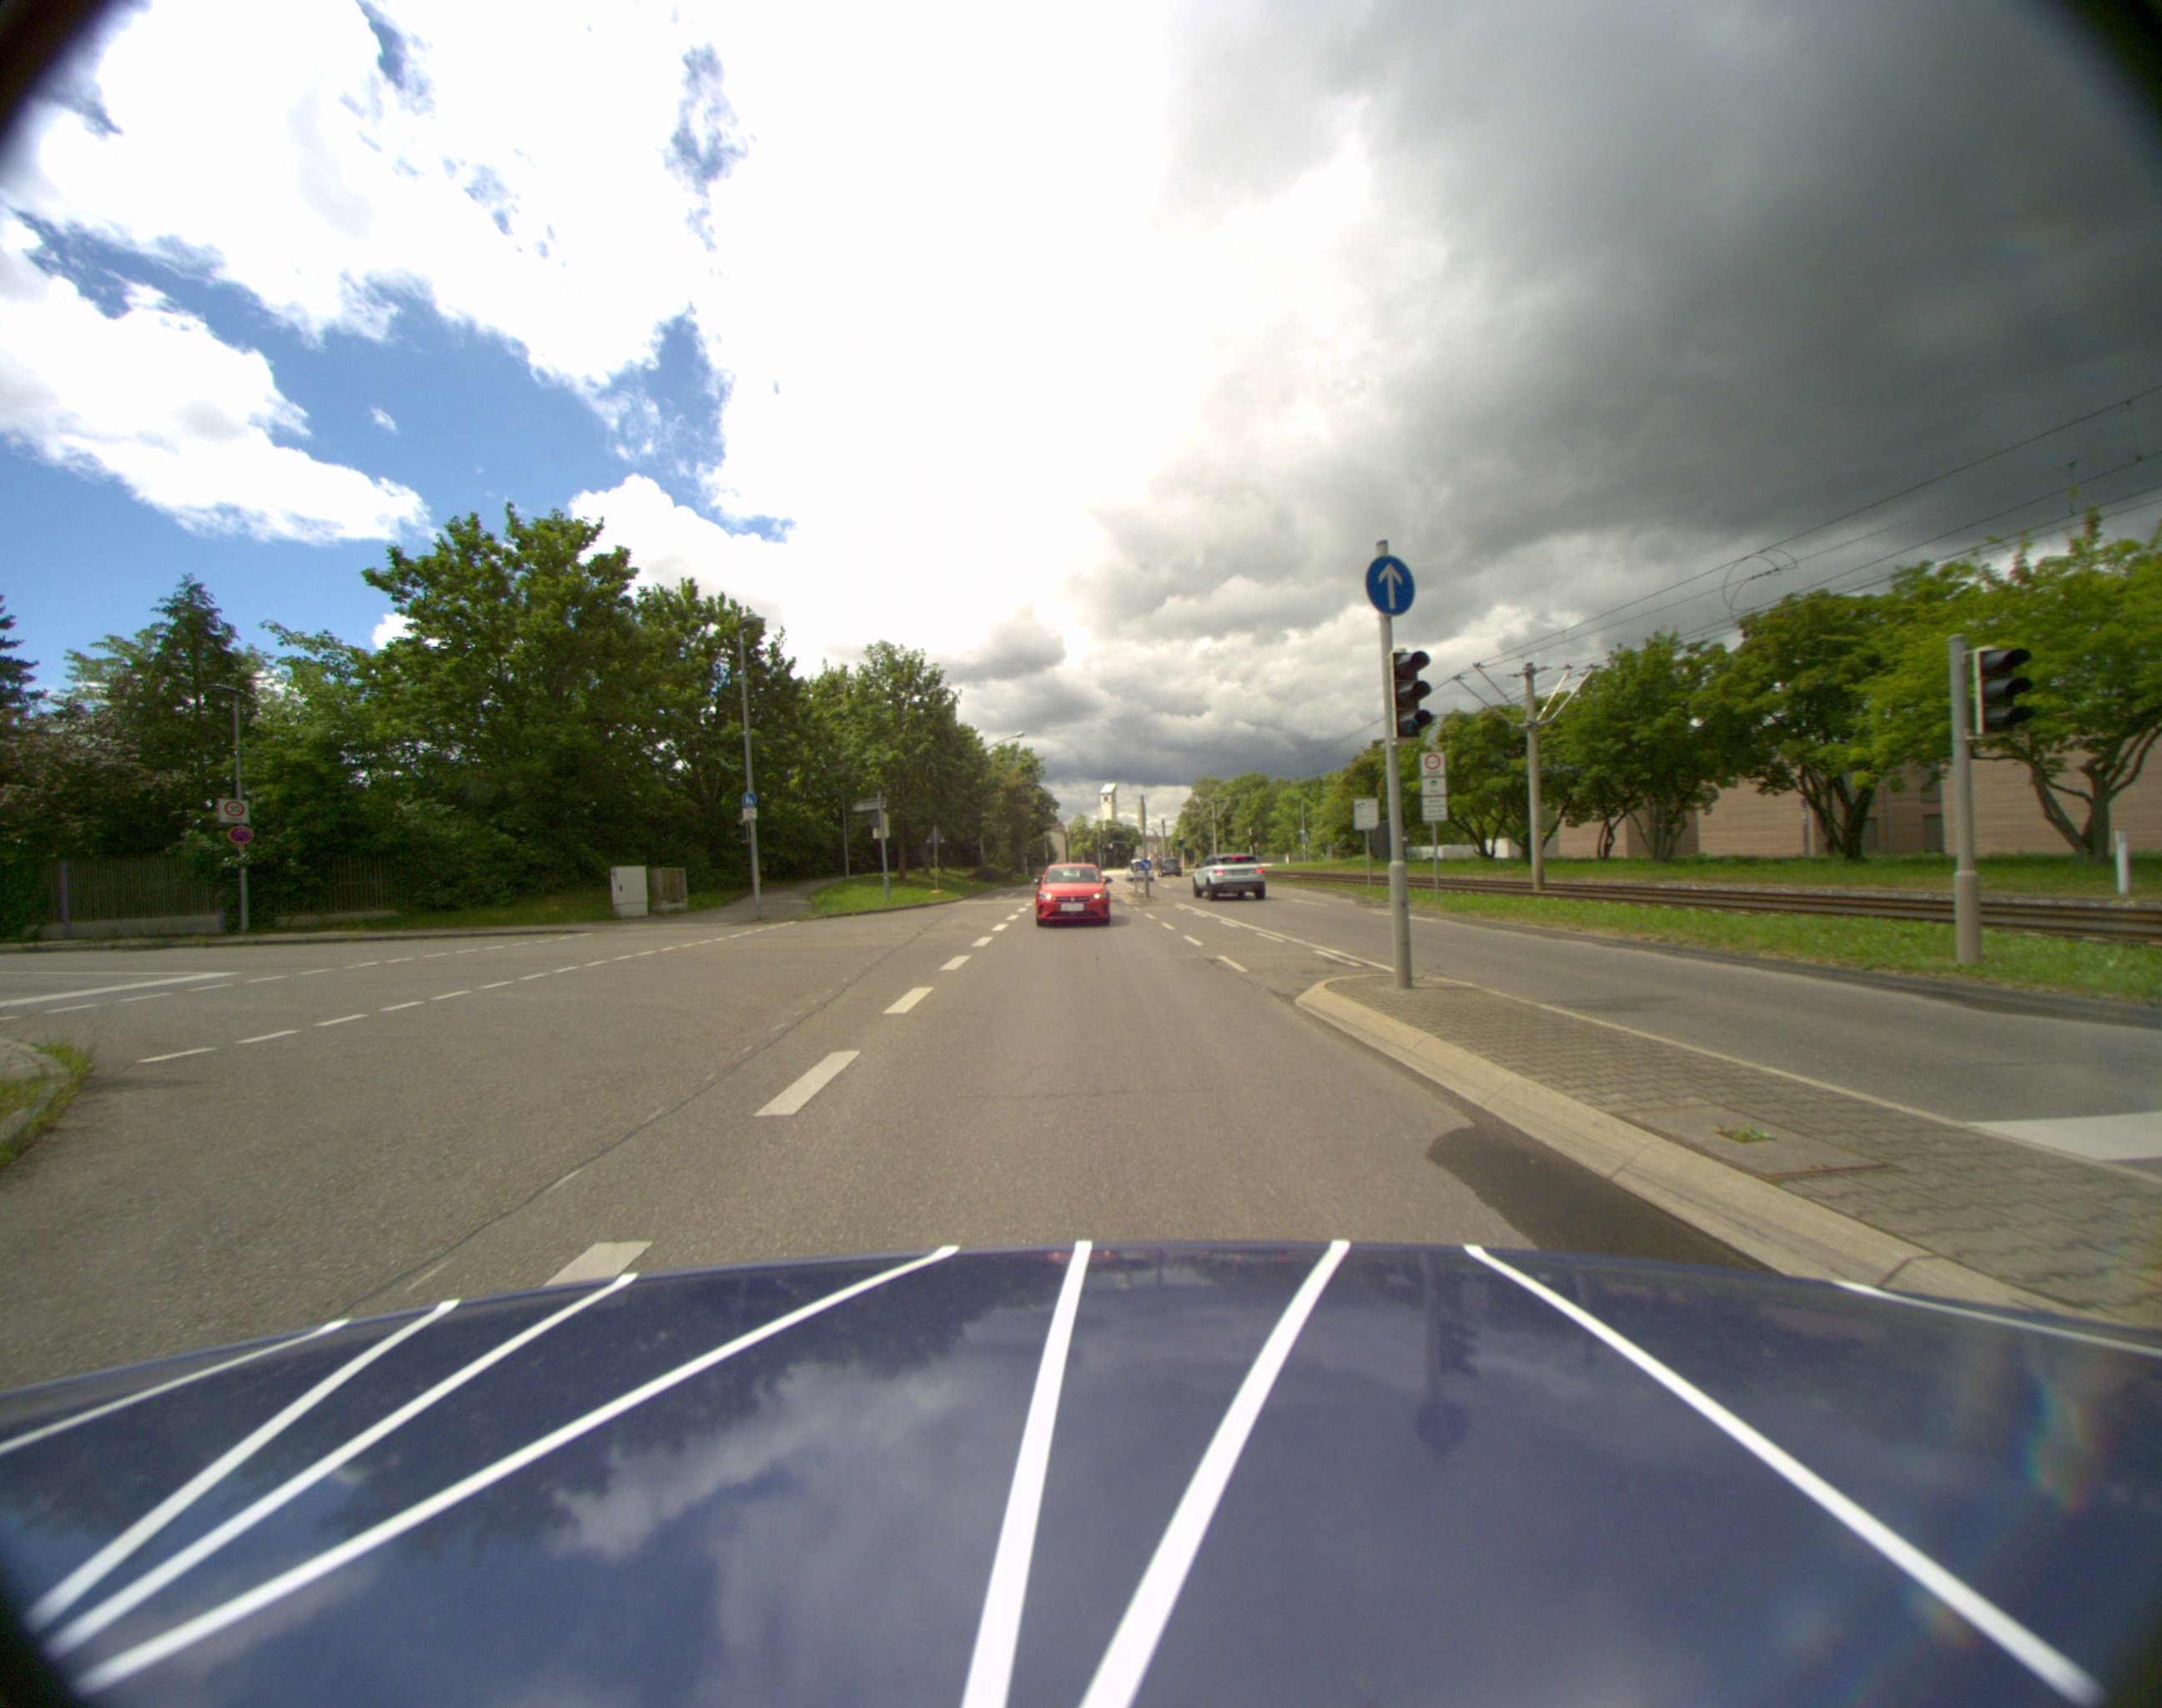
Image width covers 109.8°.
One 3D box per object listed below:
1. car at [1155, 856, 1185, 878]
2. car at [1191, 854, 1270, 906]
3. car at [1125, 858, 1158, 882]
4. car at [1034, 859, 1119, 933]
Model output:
[{"bbox_3d":[7.487,1.077,64.521,1.998,1.650,4.522,-3,1,1],"label":"car"},{"bbox_3d":[5.256,0.855,27.337,1.865,1.601,4.607,-2,1,0],"label":"car"},{"bbox_3d":[4.173,1.095,53.338,1.733,1.603,4.262,-2,0,-3],"label":"car"},{"bbox_3d":[-0.142,0.943,19.208,1.790,1.453,4.851,-3,1,-1],"label":"car"}]
